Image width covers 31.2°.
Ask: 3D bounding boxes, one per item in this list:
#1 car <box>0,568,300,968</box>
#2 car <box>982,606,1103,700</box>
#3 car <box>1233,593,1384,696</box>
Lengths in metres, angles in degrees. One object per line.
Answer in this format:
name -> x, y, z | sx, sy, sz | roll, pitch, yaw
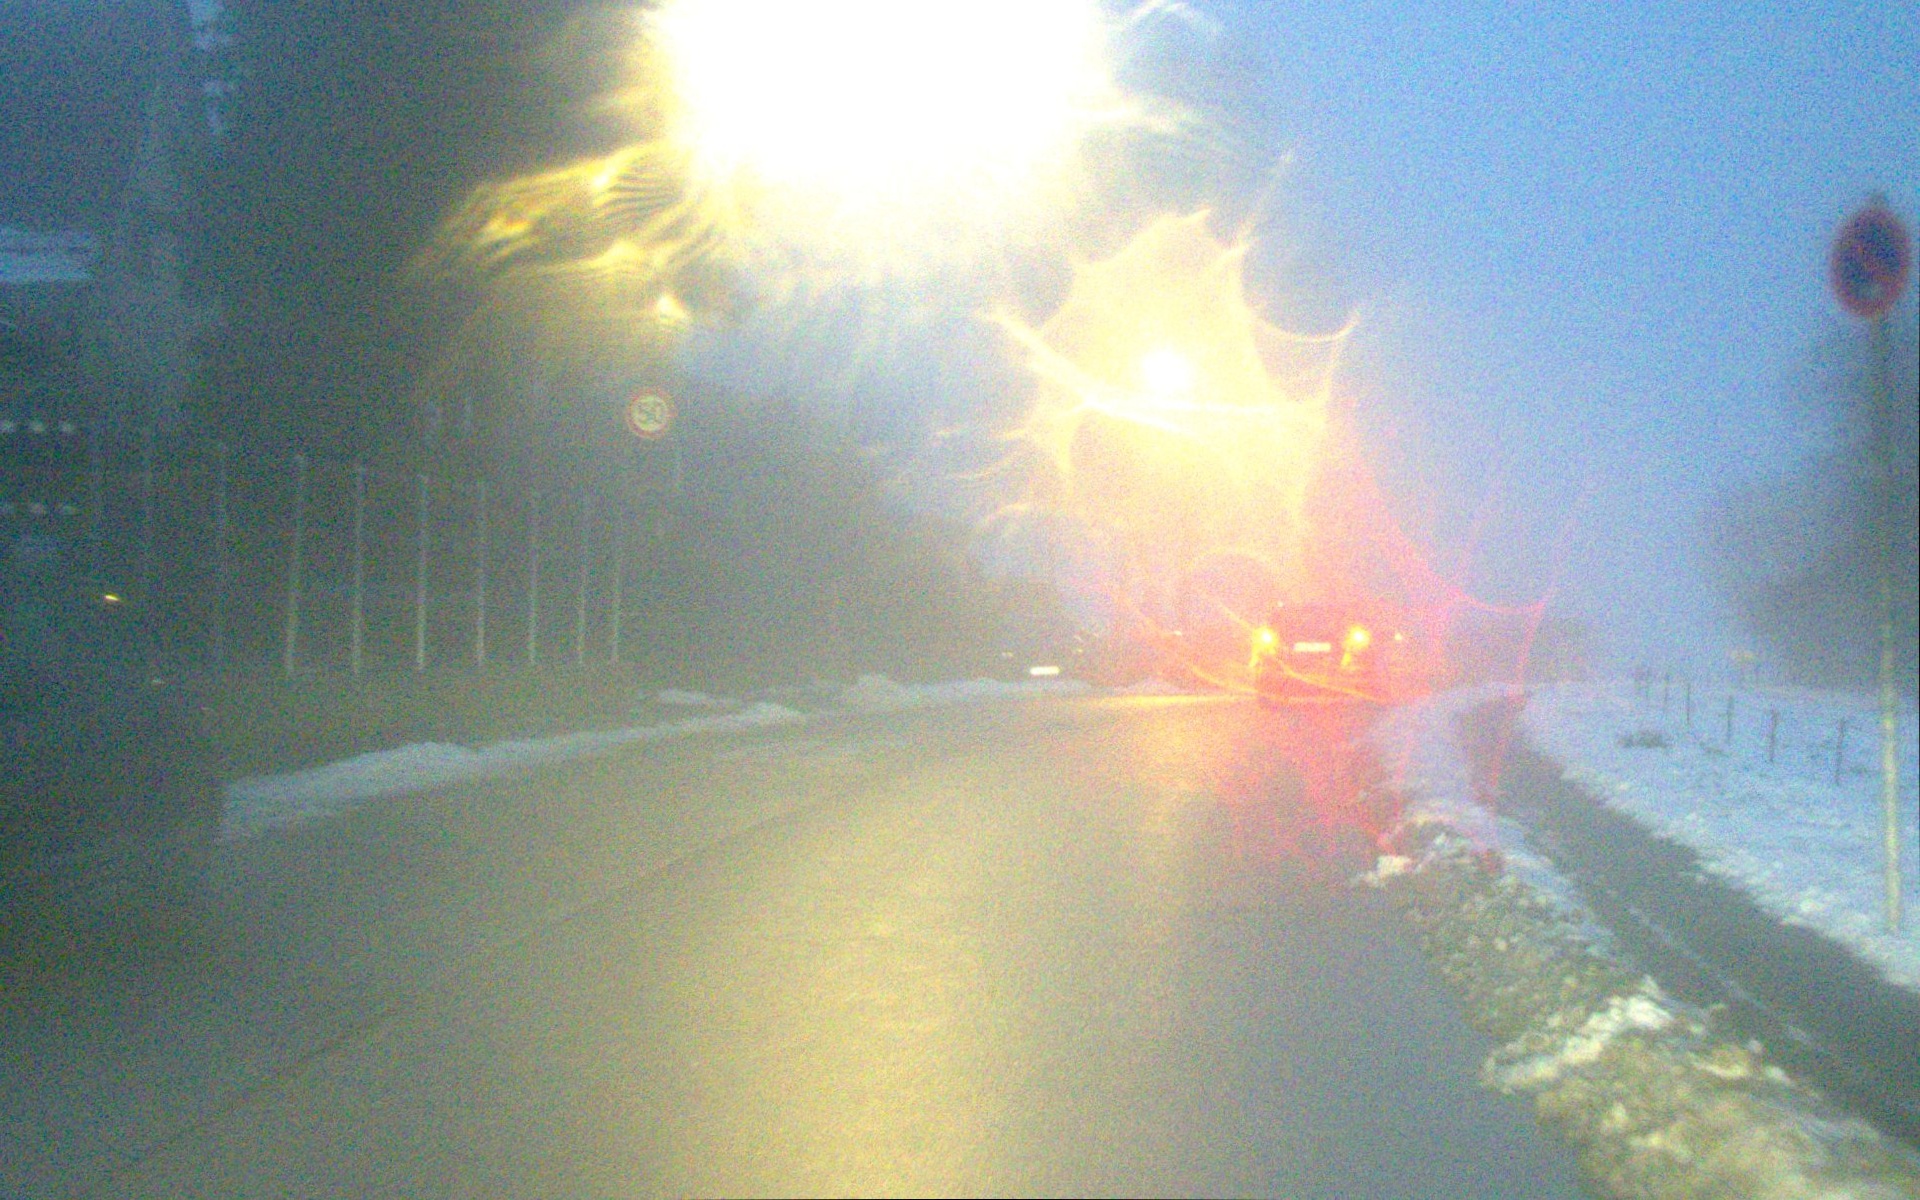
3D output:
car -> -4.301, 0.591, 13.719 | 1.877, 1.421, 5.391 | 1, 1, 5
car -> 1.549, 1.061, 66.412 | 1.993, 1.561, 4.997 | -3, -3, -2
car -> 5.070, 0.637, 49.615 | 1.994, 1.415, 3.998 | 0, -1, 8
